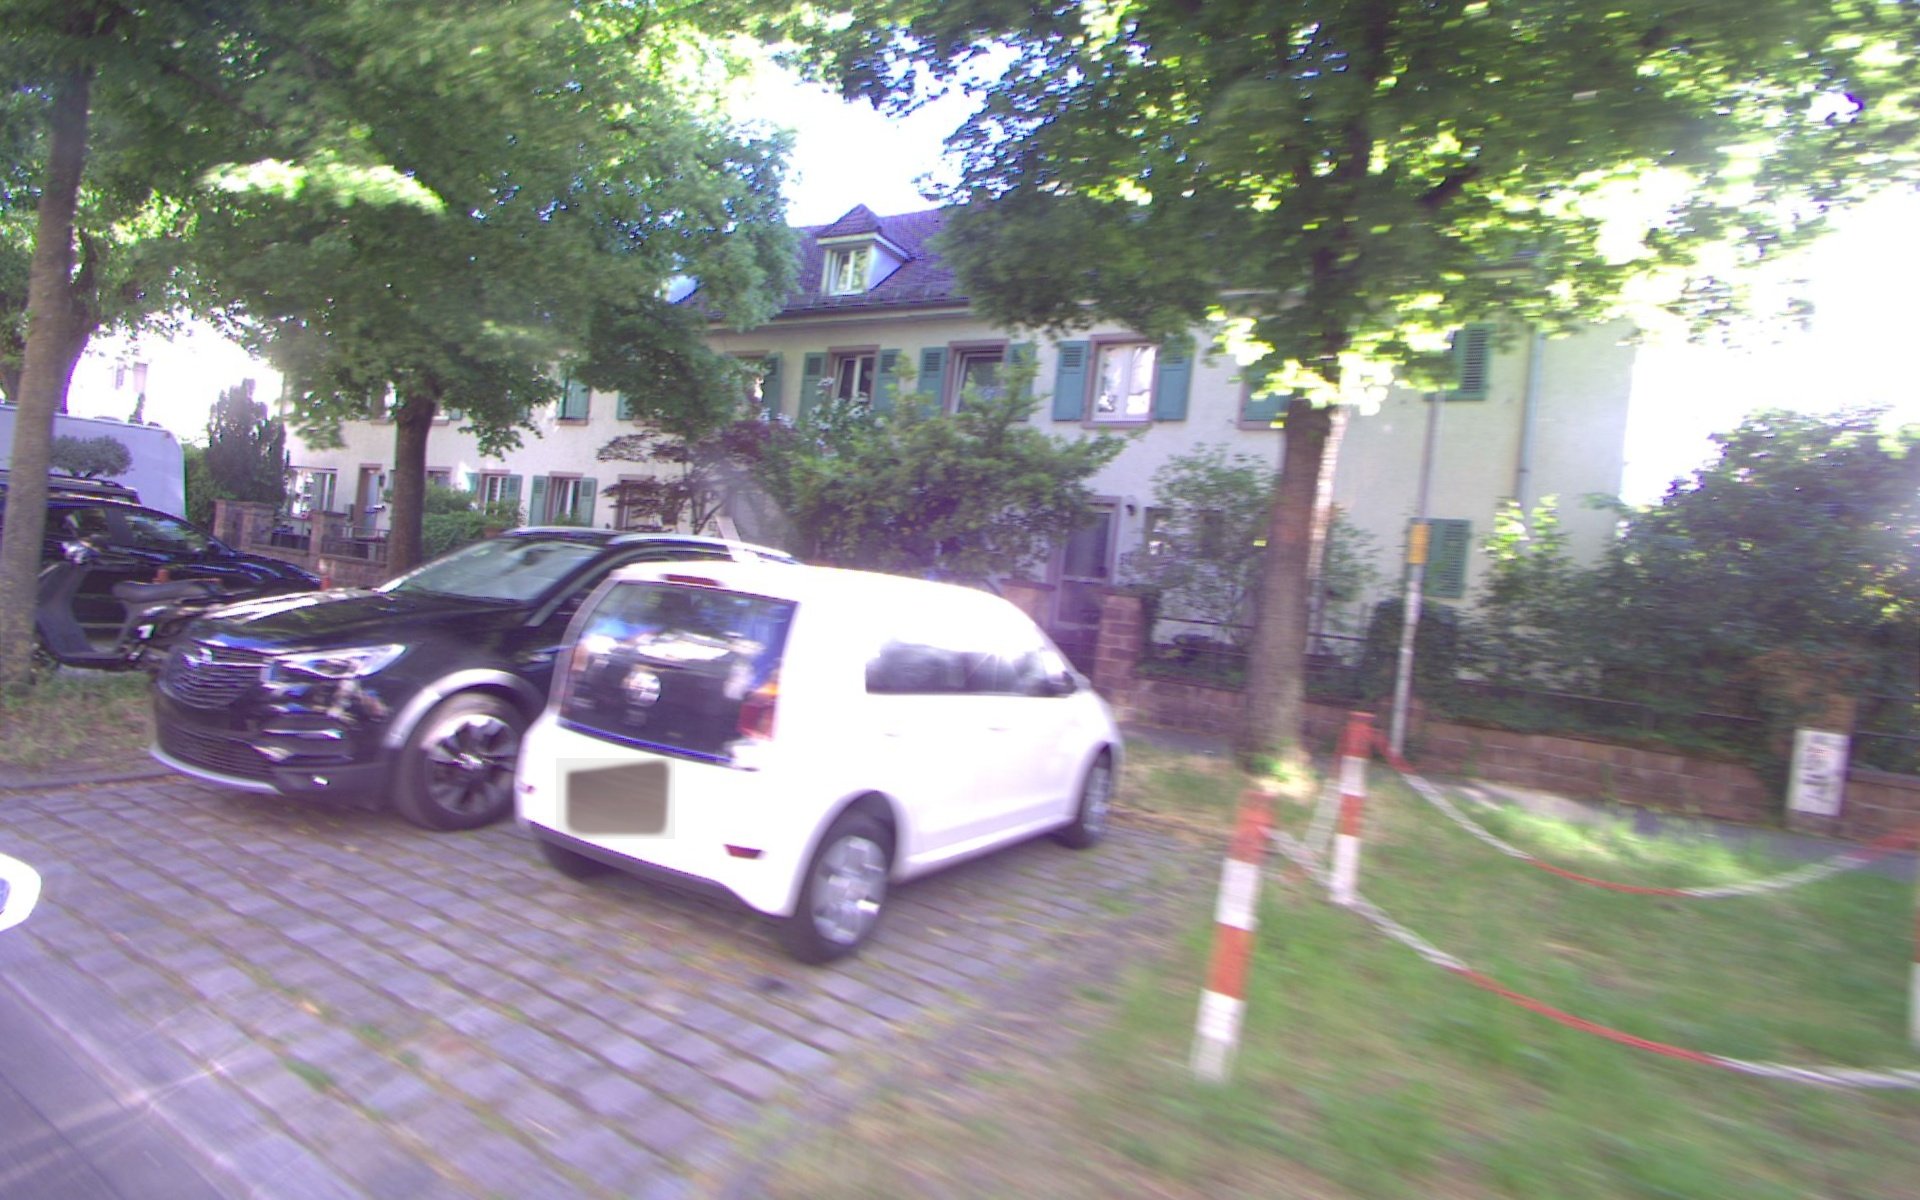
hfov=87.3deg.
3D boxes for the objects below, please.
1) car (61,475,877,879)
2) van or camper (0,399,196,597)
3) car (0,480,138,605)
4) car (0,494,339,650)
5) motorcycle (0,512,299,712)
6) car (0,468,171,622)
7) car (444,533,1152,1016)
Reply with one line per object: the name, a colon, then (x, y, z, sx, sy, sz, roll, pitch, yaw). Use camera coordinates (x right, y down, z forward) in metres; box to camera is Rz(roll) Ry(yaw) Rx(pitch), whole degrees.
car: (-2.604, 0.334, 6.470, 1.896, 1.629, 4.335, 6, 1, 30)
van or camper: (-17.408, -1.918, 16.621, 2.422, 3.116, 7.087, 6, 0, 29)
car: (-13.715, -0.847, 13.364, 1.873, 1.620, 3.959, 6, 2, 34)
car: (-9.393, -0.315, 11.150, 1.756, 1.492, 3.880, 6, 1, 26)
motorcycle: (-5.951, 0.084, 7.249, 1.747, 1.212, 0.736, 6, 1, -13)
car: (-11.943, -0.705, 11.759, 1.701, 1.767, 3.914, 6, 2, 31)
car: (-0.479, 0.612, 5.183, 1.665, 1.494, 3.449, 6, 1, 31)
